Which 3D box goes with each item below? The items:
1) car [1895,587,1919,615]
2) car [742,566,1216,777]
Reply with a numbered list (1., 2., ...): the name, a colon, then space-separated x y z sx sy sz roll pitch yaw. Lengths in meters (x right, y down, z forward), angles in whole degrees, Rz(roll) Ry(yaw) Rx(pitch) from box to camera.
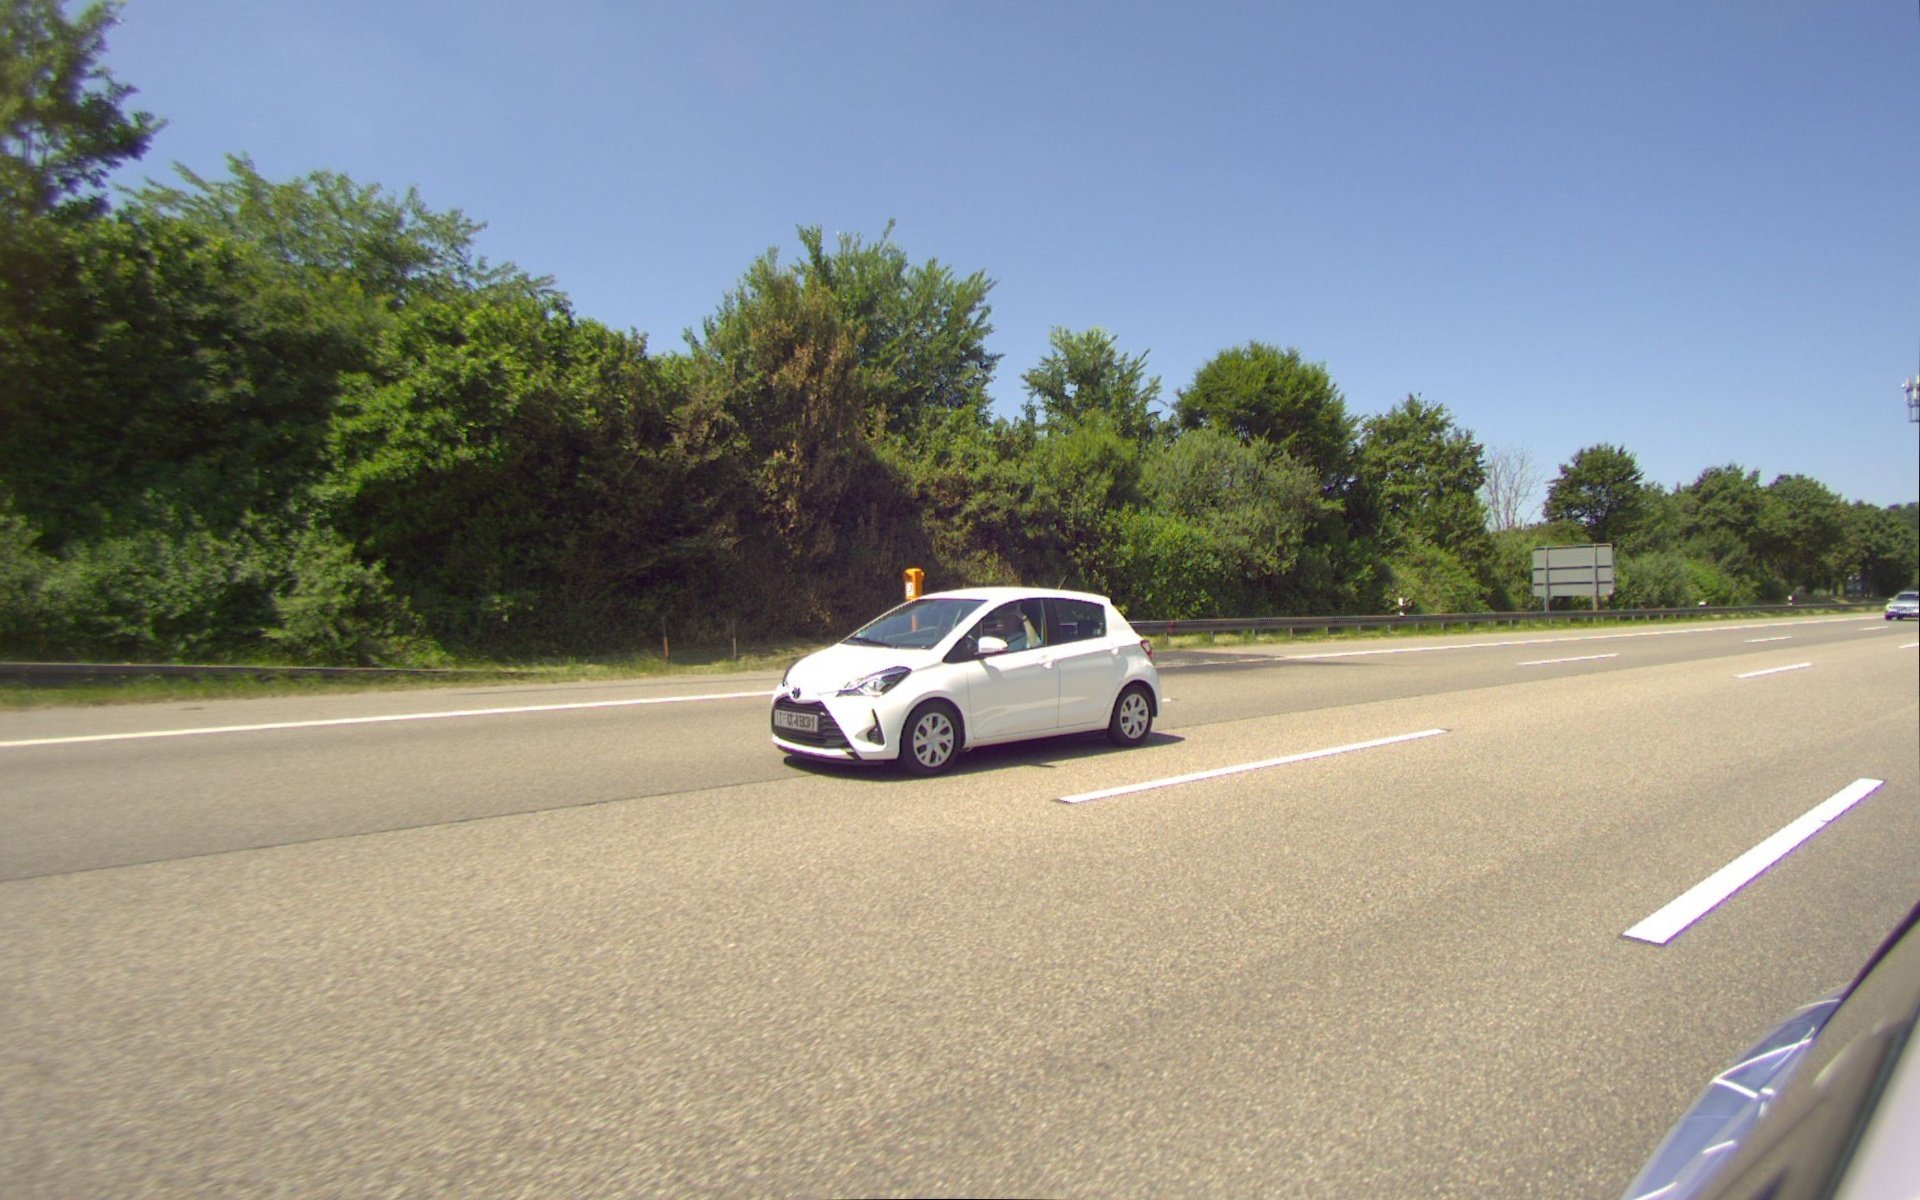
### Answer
1. car: 54.664 0.036 57.243 3.927 1.549 1.999 -1 1 -38
2. car: 0.352 0.480 9.497 4.405 1.538 1.753 -1 1 -40
